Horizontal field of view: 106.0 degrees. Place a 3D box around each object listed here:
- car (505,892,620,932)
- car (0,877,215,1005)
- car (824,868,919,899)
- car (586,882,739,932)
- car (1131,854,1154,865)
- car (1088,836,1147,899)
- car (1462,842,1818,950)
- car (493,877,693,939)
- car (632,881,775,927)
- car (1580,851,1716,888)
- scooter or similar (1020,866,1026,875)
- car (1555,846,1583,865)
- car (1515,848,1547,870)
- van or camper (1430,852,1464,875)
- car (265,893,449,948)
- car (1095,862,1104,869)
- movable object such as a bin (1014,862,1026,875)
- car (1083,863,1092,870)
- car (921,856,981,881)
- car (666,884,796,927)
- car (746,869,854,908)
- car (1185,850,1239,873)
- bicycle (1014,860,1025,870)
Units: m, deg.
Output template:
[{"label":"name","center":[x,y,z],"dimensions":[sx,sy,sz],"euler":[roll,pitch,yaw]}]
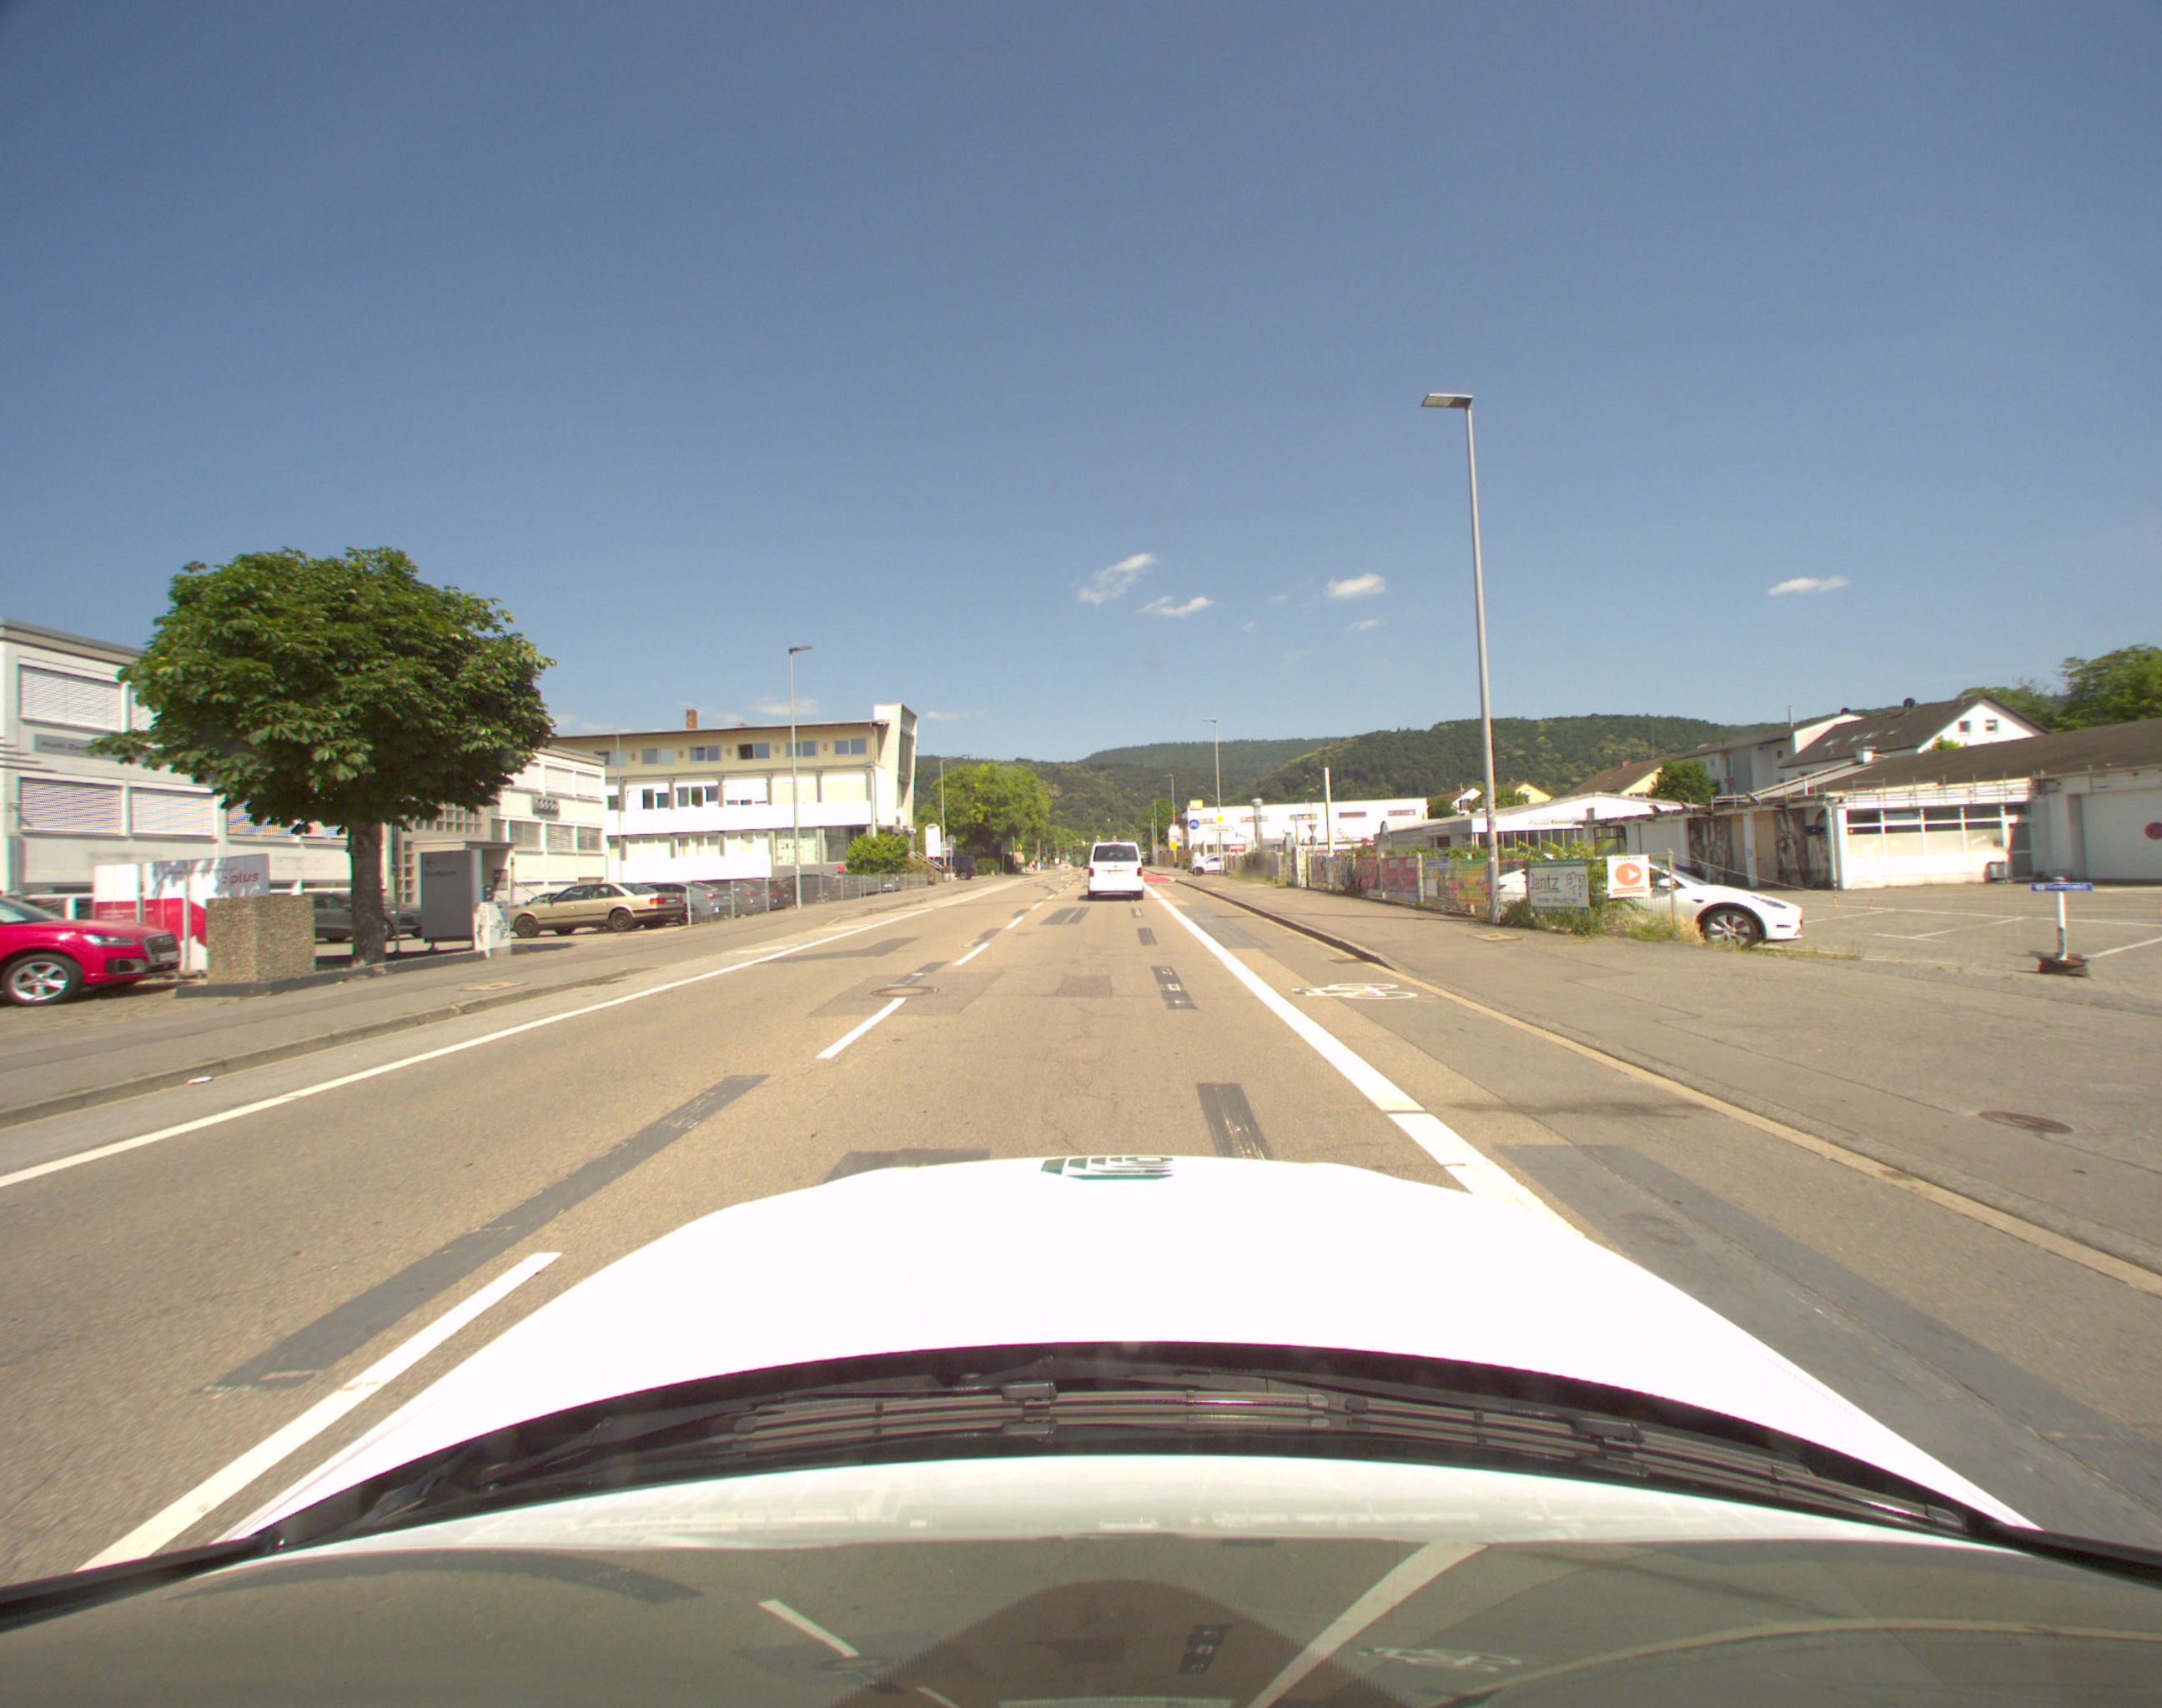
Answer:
[{"label":"car","center":[-23.399,2.603,36.853],"dimensions":[3.974,1.546,1.859],"euler":[-2,-1,0]},{"label":"car","center":[-14.567,1.150,10.667],"dimensions":[4.011,1.550,1.842],"euler":[-1,-1,-29]},{"label":"car","center":[-11.785,1.623,46.029],"dimensions":[4.723,1.481,2.048],"euler":[-3,-1,0]},{"label":"car","center":[-13.272,1.681,25.965],"dimensions":[3.871,1.445,1.826],"euler":[1,-3,5]},{"label":"car","center":[10.887,0.925,144.294],"dimensions":[3.967,1.775,2.003],"euler":[-3,-1,6]},{"label":"car","center":[1.211,0.457,29.073],"dimensions":[1.928,2.060,4.544],"euler":[0,-1,0]},{"label":"car","center":[9.840,0.762,14.677],"dimensions":[4.984,1.622,2.035],"euler":[-2,-6,44]},{"label":"car","center":[-13.821,1.499,23.262],"dimensions":[4.510,1.457,1.900],"euler":[-3,-1,-1]},{"label":"car","center":[-12.900,1.719,28.020],"dimensions":[3.975,1.443,1.858],"euler":[1,-3,-1]},{"label":"car","center":[24.356,0.662,35.129],"dimensions":[4.308,1.398,2.122],"euler":[-2,-1,5]},{"label":"scooter or similar","center":[-6.920,1.993,97.392],"dimensions":[0.645,1.128,1.620],"euler":[1,-1,-4]},{"label":"car","center":[38.189,0.151,63.749],"dimensions":[1.771,1.464,3.848],"euler":[-1,-1,31]},{"label":"car","center":[35.107,0.381,63.468],"dimensions":[1.974,1.647,4.025],"euler":[-1,1,31]},{"label":"van or camper","center":[28.706,0.747,63.823],"dimensions":[1.974,1.543,4.254],"euler":[-8,-4,28]},{"label":"car","center":[-23.954,2.167,27.059],"dimensions":[4.342,1.553,1.858],"euler":[-2,-1,-2]},{"label":"car","center":[4.407,2.697,194.321],"dimensions":[1.842,1.588,4.002],"euler":[-3,-1,2]},{"label":"movable object such as a bin","center":[-7.705,1.853,103.276],"dimensions":[1.447,1.590,1.304],"euler":[-3,-1,-7]},{"label":"car","center":[1.601,2.903,190.085],"dimensions":[1.986,1.370,4.327],"euler":[-3,-1,1]},{"label":"car","center":[-10.432,1.185,65.623],"dimensions":[4.556,1.865,2.090],"euler":[-2,-1,-4]},{"label":"car","center":[-13.045,1.920,30.557],"dimensions":[3.976,1.491,1.857],"euler":[2,-3,-2]},{"label":"car","center":[-13.034,1.564,38.012],"dimensions":[4.285,1.558,1.994],"euler":[-3,-1,-2]},{"label":"car","center":[9.255,0.538,57.823],"dimensions":[3.648,1.484,1.730],"euler":[-2,-1,4]},{"label":"bicycle","center":[-7.079,1.305,93.795],"dimensions":[1.024,1.118,2.764],"euler":[0,-1,-1]}]
